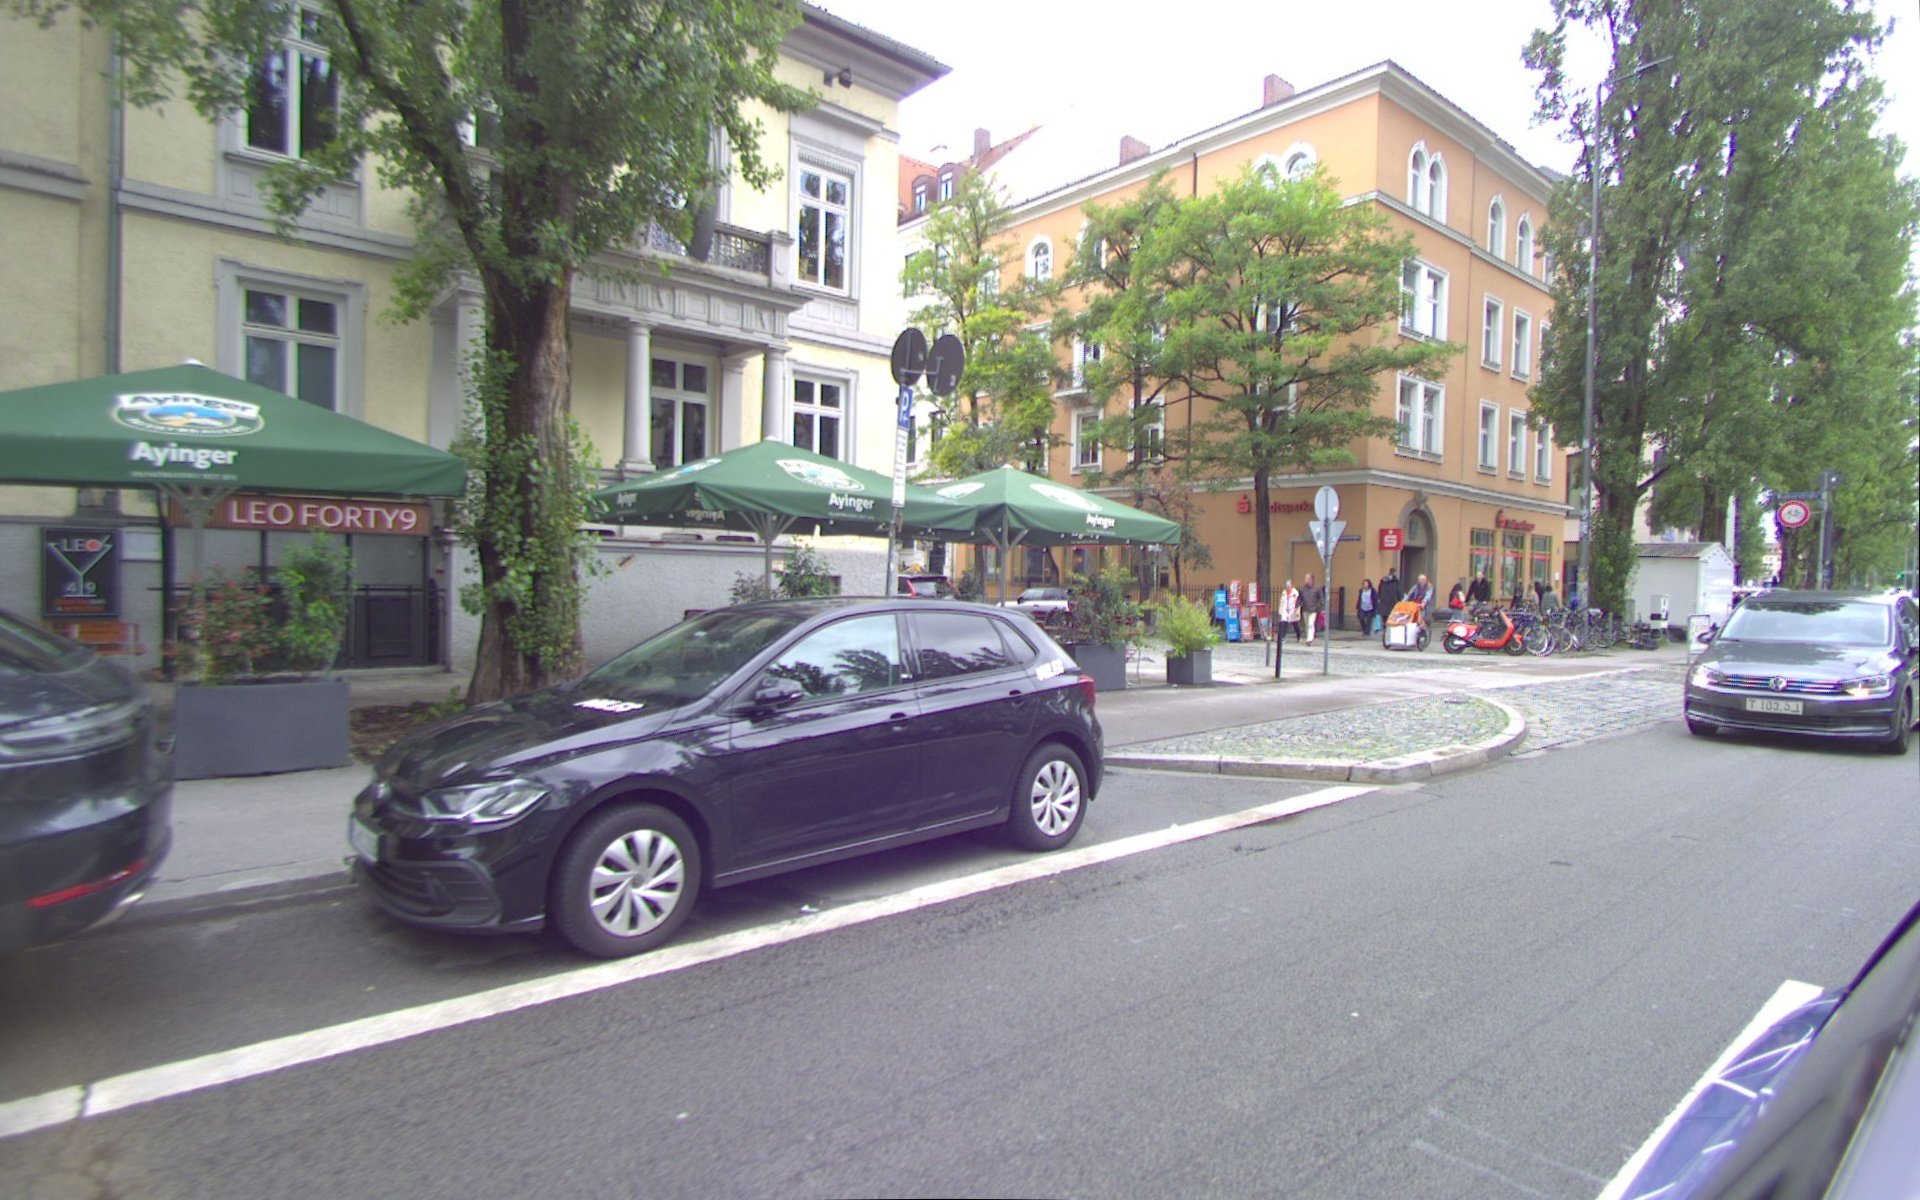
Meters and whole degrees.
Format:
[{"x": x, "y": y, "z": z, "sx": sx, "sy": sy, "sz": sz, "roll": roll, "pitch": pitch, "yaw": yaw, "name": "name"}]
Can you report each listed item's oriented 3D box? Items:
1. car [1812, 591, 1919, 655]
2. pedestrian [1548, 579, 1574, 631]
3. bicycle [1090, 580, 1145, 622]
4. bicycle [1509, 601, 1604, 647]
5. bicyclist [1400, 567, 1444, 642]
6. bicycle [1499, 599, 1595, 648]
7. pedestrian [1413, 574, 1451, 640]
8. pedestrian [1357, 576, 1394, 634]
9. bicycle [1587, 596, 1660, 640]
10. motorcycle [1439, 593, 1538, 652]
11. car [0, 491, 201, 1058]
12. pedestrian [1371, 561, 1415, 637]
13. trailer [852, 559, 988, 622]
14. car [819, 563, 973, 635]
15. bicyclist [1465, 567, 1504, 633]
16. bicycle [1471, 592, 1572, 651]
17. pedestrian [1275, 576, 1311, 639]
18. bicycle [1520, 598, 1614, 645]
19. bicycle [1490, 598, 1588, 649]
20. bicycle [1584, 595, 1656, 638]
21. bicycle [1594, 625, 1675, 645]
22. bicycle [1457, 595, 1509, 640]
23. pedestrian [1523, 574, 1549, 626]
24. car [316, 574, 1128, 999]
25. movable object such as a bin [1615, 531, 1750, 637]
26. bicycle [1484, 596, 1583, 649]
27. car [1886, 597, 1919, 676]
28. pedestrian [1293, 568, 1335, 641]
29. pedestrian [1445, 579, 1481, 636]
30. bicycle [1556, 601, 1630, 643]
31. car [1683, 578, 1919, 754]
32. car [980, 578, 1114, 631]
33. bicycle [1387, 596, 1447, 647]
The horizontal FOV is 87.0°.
[{"x": 24.567, "y": 0.566, "z": 27.326, "sx": 4.421, "sy": 1.572, "sz": 1.787, "roll": 0, "pitch": 0, "yaw": -42, "name": "car"}, {"x": 20.000, "y": 0.169, "z": 33.691, "sx": 0.617, "sy": 1.715, "sz": 0.565, "roll": 0, "pitch": 0, "yaw": 45, "name": "pedestrian"}, {"x": 5.309, "y": 0.011, "z": 34.165, "sx": 0.551, "sy": 1.389, "sz": 1.945, "roll": 1, "pitch": 0, "yaw": -39, "name": "bicycle"}, {"x": 14.797, "y": 0.573, "z": 25.154, "sx": 0.551, "sy": 1.022, "sz": 1.945, "roll": 1, "pitch": 1, "yaw": -39, "name": "bicycle"}, {"x": 11.237, "y": 0.096, "z": 24.618, "sx": 0.826, "sy": 1.779, "sz": 0.658, "roll": 2, "pitch": 1, "yaw": 37, "name": "bicyclist"}, {"x": 14.346, "y": 0.560, "z": 24.769, "sx": 0.551, "sy": 1.089, "sz": 1.945, "roll": 1, "pitch": 1, "yaw": -39, "name": "bicycle"}, {"x": 12.356, "y": 0.177, "z": 26.497, "sx": 0.743, "sy": 1.682, "sz": 0.760, "roll": 0, "pitch": 0, "yaw": 40, "name": "pedestrian"}, {"x": 11.613, "y": 0.122, "z": 28.284, "sx": 0.651, "sy": 1.590, "sz": 0.746, "roll": 0, "pitch": 0, "yaw": -38, "name": "pedestrian"}, {"x": 17.829, "y": 0.474, "z": 27.240, "sx": 1.588, "sy": 1.098, "sz": 0.339, "roll": 2, "pitch": 1, "yaw": 28, "name": "bicycle"}, {"x": 11.973, "y": 0.491, "z": 22.992, "sx": 1.939, "sy": 1.236, "sz": 0.510, "roll": 2, "pitch": 1, "yaw": 25, "name": "motorcycle"}, {"x": -4.668, "y": 0.504, "z": 2.471, "sx": 4.371, "sy": 1.658, "sz": 1.805, "roll": 0, "pitch": 1, "yaw": -42, "name": "car"}, {"x": 11.538, "y": -0.024, "z": 26.968, "sx": 0.789, "sy": 1.973, "sz": 0.838, "roll": 0, "pitch": 0, "yaw": -45, "name": "pedestrian"}, {"x": -1.502, "y": -0.341, "z": 35.491, "sx": 1.873, "sy": 2.054, "sz": 5.247, "roll": 1, "pitch": 0, "yaw": -41, "name": "trailer"}, {"x": -1.760, "y": -0.039, "z": 26.365, "sx": 1.934, "sy": 1.724, "sz": 4.429, "roll": 0, "pitch": 0, "yaw": -36, "name": "car"}, {"x": 13.968, "y": -0.012, "z": 26.973, "sx": 0.739, "sy": 1.708, "sz": 0.737, "roll": 2, "pitch": 1, "yaw": 42, "name": "bicyclist"}, {"x": 12.929, "y": 0.477, "z": 23.346, "sx": 0.551, "sy": 1.255, "sz": 1.945, "roll": 1, "pitch": 1, "yaw": -39, "name": "bicycle"}, {"x": 8.584, "y": 0.192, "z": 26.105, "sx": 0.564, "sy": 1.590, "sz": 0.699, "roll": 0, "pitch": 0, "yaw": -38, "name": "pedestrian"}, {"x": 15.352, "y": 0.521, "z": 25.637, "sx": 0.551, "sy": 1.098, "sz": 1.945, "roll": 1, "pitch": 1, "yaw": -39, "name": "bicycle"}, {"x": 13.840, "y": 0.542, "z": 24.236, "sx": 0.551, "sy": 1.102, "sz": 1.945, "roll": 1, "pitch": 1, "yaw": -39, "name": "bicycle"}, {"x": 17.970, "y": 0.445, "z": 27.575, "sx": 1.593, "sy": 1.098, "sz": 0.319, "roll": 2, "pitch": 1, "yaw": 28, "name": "bicycle"}, {"x": 17.580, "y": 0.912, "z": 26.391, "sx": 1.671, "sy": 0.378, "sz": 0.818, "roll": 4, "pitch": 3, "yaw": 42, "name": "bicycle"}, {"x": 13.934, "y": 0.443, "z": 26.948, "sx": 0.735, "sy": 1.134, "sz": 2.071, "roll": 2, "pitch": 1, "yaw": 41, "name": "bicycle"}, {"x": 19.261, "y": -0.013, "z": 33.841, "sx": 0.565, "sy": 1.715, "sz": 0.633, "roll": 0, "pitch": 0, "yaw": -44, "name": "pedestrian"}, {"x": -0.995, "y": 0.621, "z": 5.394, "sx": 3.884, "sy": 1.434, "sz": 1.696, "roll": 0, "pitch": 1, "yaw": -43, "name": "car"}, {"x": 23.449, "y": -0.531, "z": 32.800, "sx": 4.463, "sy": 3.175, "sz": 2.445, "roll": 0, "pitch": 3, "yaw": -40, "name": "movable object such as a bin"}, {"x": 13.425, "y": 0.508, "z": 23.738, "sx": 0.551, "sy": 1.151, "sz": 1.945, "roll": 1, "pitch": 1, "yaw": -39, "name": "bicycle"}, {"x": 19.535, "y": 0.686, "z": 19.656, "sx": 3.929, "sy": 1.451, "sz": 1.617, "roll": 0, "pitch": 0, "yaw": -37, "name": "car"}, {"x": 8.846, "y": 0.113, "z": 25.307, "sx": 0.718, "sy": 1.788, "sz": 0.699, "roll": 0, "pitch": 0, "yaw": -38, "name": "pedestrian"}, {"x": 14.425, "y": 0.210, "z": 29.034, "sx": 0.603, "sy": 1.590, "sz": 0.746, "roll": 0, "pitch": 0, "yaw": -38, "name": "pedestrian"}, {"x": 16.527, "y": 0.559, "z": 26.441, "sx": 1.597, "sy": 1.022, "sz": 0.337, "roll": 2, "pitch": 1, "yaw": 43, "name": "bicycle"}, {"x": 9.765, "y": 0.595, "z": 11.303, "sx": 4.120, "sy": 1.611, "sz": 1.880, "roll": 0, "pitch": 0, "yaw": -42, "name": "car"}, {"x": 2.656, "y": 0.127, "z": 31.448, "sx": 1.873, "sy": 1.539, "sz": 3.993, "roll": 0, "pitch": 0, "yaw": -41, "name": "car"}, {"x": 11.010, "y": 0.494, "z": 24.338, "sx": 0.882, "sy": 1.134, "sz": 2.074, "roll": 2, "pitch": 1, "yaw": 37, "name": "bicycle"}]
